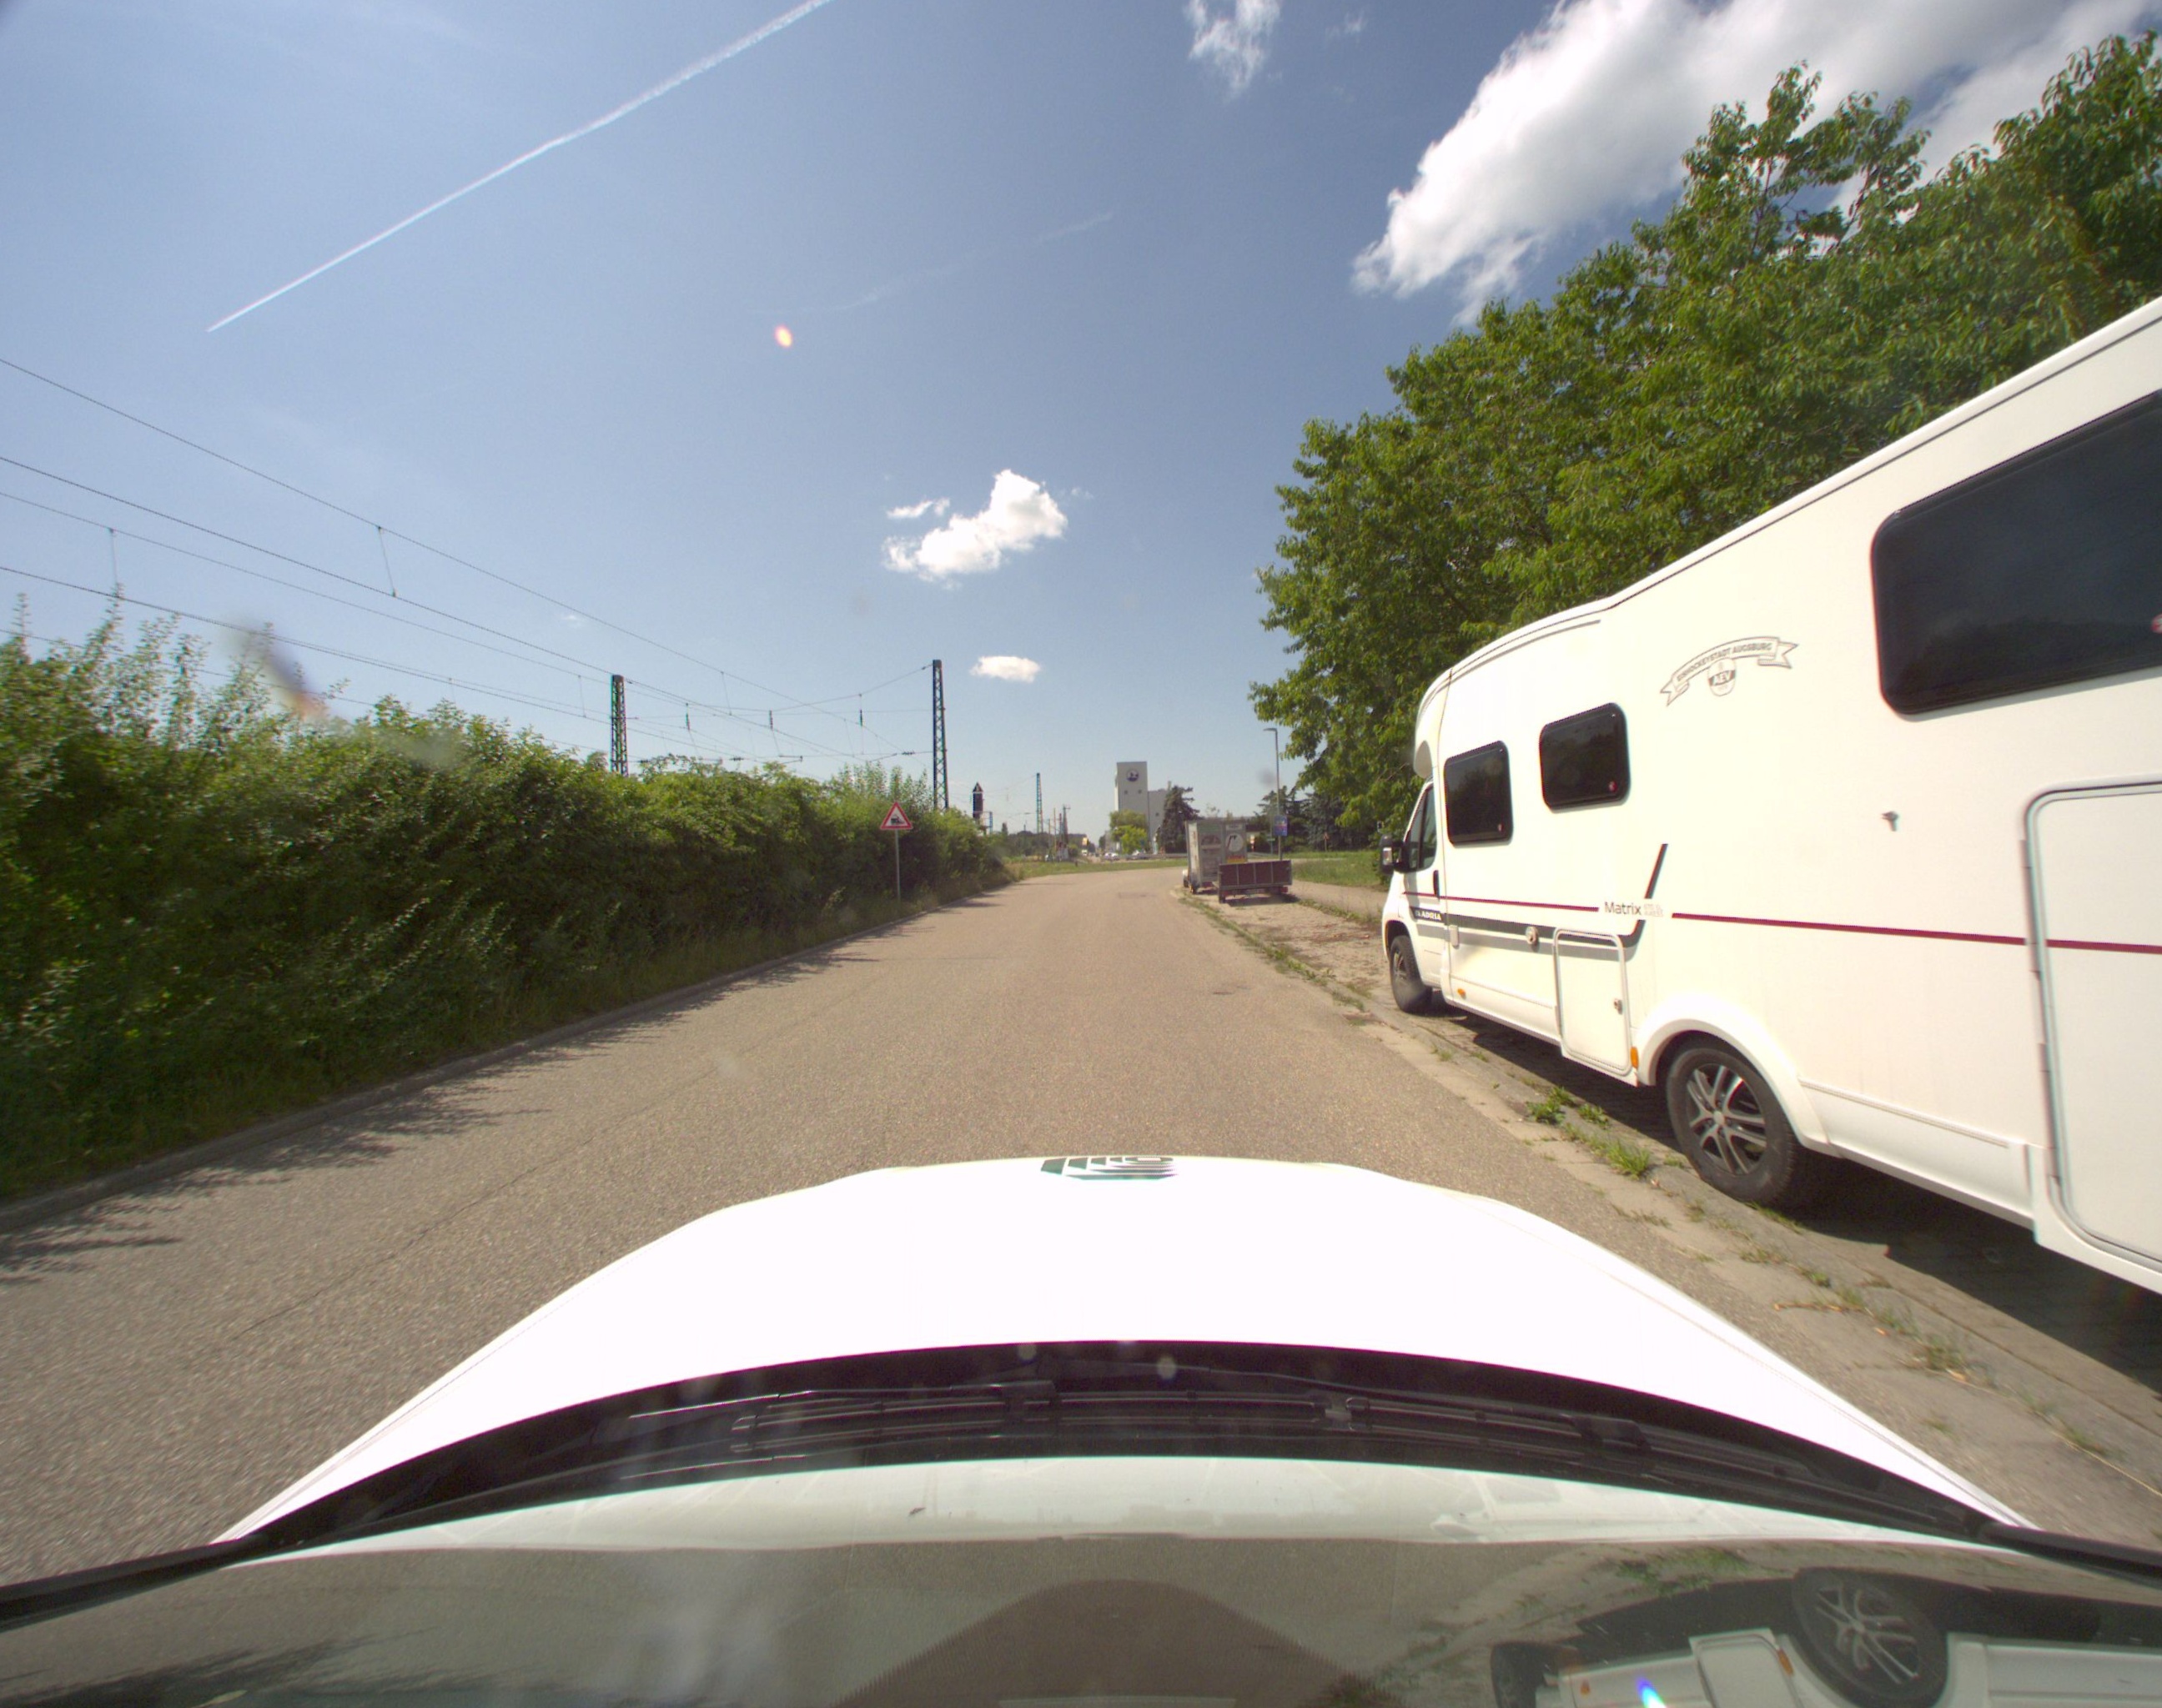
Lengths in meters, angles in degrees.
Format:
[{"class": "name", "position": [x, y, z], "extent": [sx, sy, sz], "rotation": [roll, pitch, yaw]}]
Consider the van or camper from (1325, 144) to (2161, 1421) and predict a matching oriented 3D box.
[{"class": "van or camper", "position": [3.706, -0.190, 4.644], "extent": [2.430, 2.826, 7.626], "rotation": [-3, 0, 2]}]

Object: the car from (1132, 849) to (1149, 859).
[{"class": "car", "position": [9.218, -0.054, 126.755], "extent": [1.990, 1.510, 4.448], "rotation": [-2, 0, -4]}]

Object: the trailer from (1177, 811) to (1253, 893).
[{"class": "trailer", "position": [4.632, -0.068, 28.807], "extent": [1.911, 2.508, 4.744], "rotation": [-5, 0, 2]}]

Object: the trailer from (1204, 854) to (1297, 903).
[{"class": "trailer", "position": [4.715, 0.636, 23.310], "extent": [1.995, 1.123, 4.494], "rotation": [-5, -1, 5]}]

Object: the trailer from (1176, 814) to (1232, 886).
[{"class": "trailer", "position": [5.085, -0.190, 33.913], "extent": [1.922, 2.644, 5.195], "rotation": [-5, 0, 8]}]
